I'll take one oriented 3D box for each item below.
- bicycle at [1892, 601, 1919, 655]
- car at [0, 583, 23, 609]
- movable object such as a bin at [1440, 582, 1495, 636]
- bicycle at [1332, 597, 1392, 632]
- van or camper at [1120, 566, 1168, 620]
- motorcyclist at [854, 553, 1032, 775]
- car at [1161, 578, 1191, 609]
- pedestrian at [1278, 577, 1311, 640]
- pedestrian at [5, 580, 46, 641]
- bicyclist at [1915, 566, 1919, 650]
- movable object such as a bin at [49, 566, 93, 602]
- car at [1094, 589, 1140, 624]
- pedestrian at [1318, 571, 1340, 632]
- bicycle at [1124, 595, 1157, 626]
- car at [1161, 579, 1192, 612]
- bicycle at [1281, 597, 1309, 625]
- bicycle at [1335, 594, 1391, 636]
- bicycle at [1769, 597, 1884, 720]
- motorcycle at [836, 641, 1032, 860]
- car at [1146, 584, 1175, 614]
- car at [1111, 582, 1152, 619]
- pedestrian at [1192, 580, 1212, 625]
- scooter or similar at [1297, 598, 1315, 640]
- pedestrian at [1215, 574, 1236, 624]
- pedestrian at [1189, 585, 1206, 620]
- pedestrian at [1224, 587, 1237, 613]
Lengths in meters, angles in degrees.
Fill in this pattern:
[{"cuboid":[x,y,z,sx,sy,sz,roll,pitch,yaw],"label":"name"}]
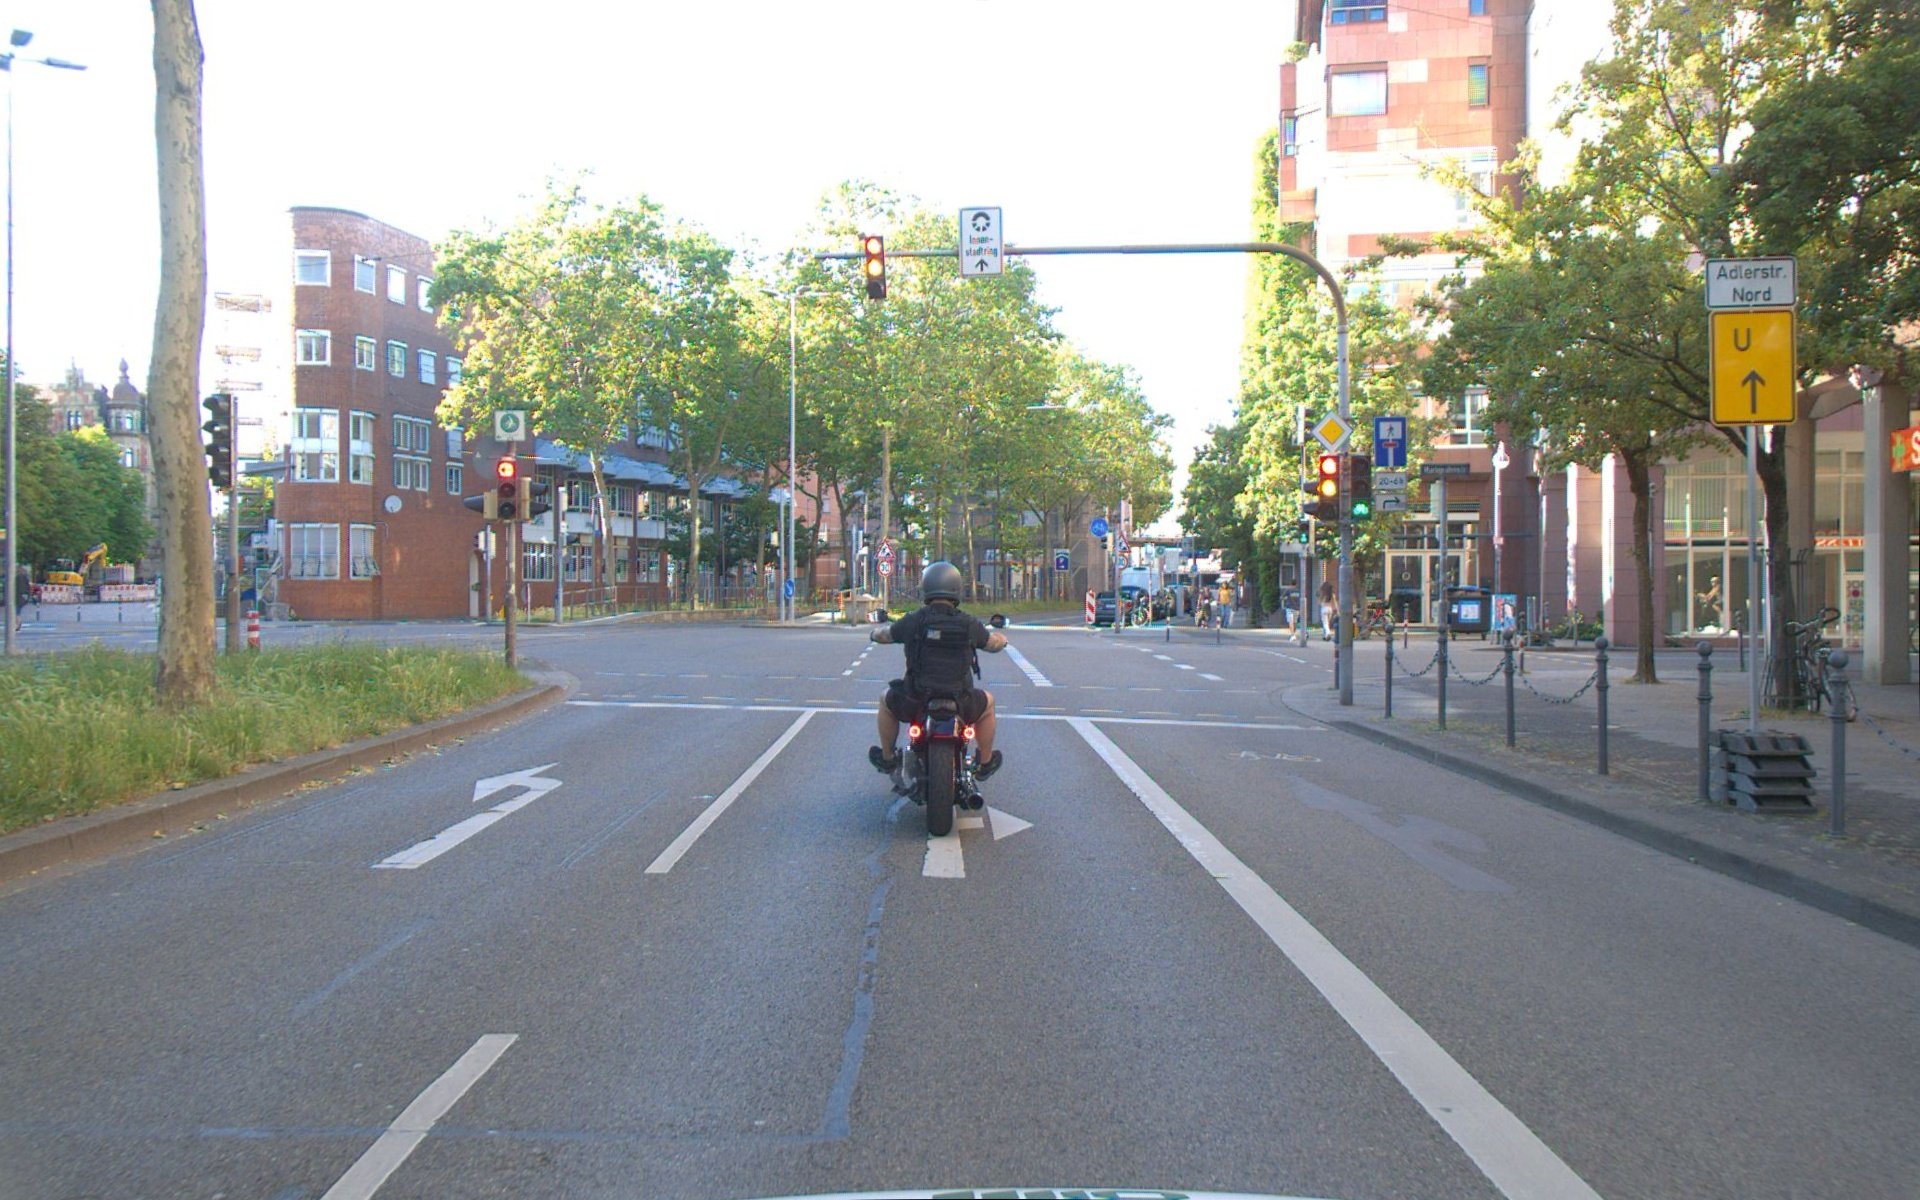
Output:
[{"cuboid":[21.005,0.584,35.200,1.874,1.132,0.804,0,0,8],"label":"bicycle"},{"cuboid":[-53.362,-0.226,90.128,3.951,1.425,1.977,0,0,-34],"label":"car"},{"cuboid":[14.269,0.245,46.530,1.380,1.508,0.872,0,0,11],"label":"movable object such as a bin"},{"cuboid":[12.727,0.444,52.370,1.713,1.071,0.738,0,0,28],"label":"bicycle"},{"cuboid":[9.095,-0.357,81.565,2.005,2.585,5.778,0,0,10],"label":"van or camper"},{"cuboid":[-0.088,0.376,10.259,0.990,1.285,0.774,2,1,4],"label":"motorcyclist"},{"cuboid":[14.532,-0.451,111.141,1.796,2.049,4.392,0,0,9],"label":"car"},{"cuboid":[9.510,0.234,47.040,0.770,1.794,0.609,0,0,-3],"label":"pedestrian"},{"cuboid":[-29.719,0.323,52.615,0.837,1.902,0.752,0,0,2],"label":"pedestrian"},{"cuboid":[20.928,0.165,35.201,0.807,1.801,0.789,0,0,8],"label":"bicyclist"},{"cuboid":[-59.256,-1.090,110.276,1.894,2.351,2.777,0,1,-15],"label":"movable object such as a bin"},{"cuboid":[6.227,0.237,65.329,1.585,1.325,4.315,0,0,8],"label":"car"},{"cuboid":[10.400,0.037,46.637,0.449,1.702,0.680,0,0,0],"label":"pedestrian"},{"cuboid":[6.341,0.350,58.262,0.723,1.071,1.748,0,1,-9],"label":"bicycle"},{"cuboid":[13.873,-0.295,105.783,1.796,2.049,4.392,0,0,9],"label":"car"},{"cuboid":[11.649,0.369,57.526,0.721,0.956,1.753,0,1,4],"label":"bicycle"},{"cuboid":[11.995,0.442,49.262,1.534,1.248,0.578,0,0,6],"label":"bicycle"},{"cuboid":[9.418,0.596,18.042,0.608,1.247,1.928,0,1,12],"label":"bicycle"},{"cuboid":[-0.099,0.849,10.106,0.996,1.116,2.009,0,1,5],"label":"motorcycle"},{"cuboid":[11.503,-0.071,94.697,1.585,1.638,3.777,0,0,8],"label":"car"},{"cuboid":[7.832,0.010,75.279,1.585,1.647,4.489,0,0,9],"label":"car"},{"cuboid":[8.679,0.101,59.329,0.630,1.606,0.748,0,0,3],"label":"pedestrian"},{"cuboid":[9.864,0.527,47.189,0.386,1.178,1.250,0,0,6],"label":"scooter or similar"},{"cuboid":[9.512,-0.034,59.219,0.685,1.764,0.768,0,0,3],"label":"pedestrian"},{"cuboid":[11.508,0.105,80.114,0.746,1.673,0.547,0,0,3],"label":"pedestrian"},{"cuboid":[15.783,0.006,96.591,0.749,1.470,0.781,1,0,8],"label":"pedestrian"}]
